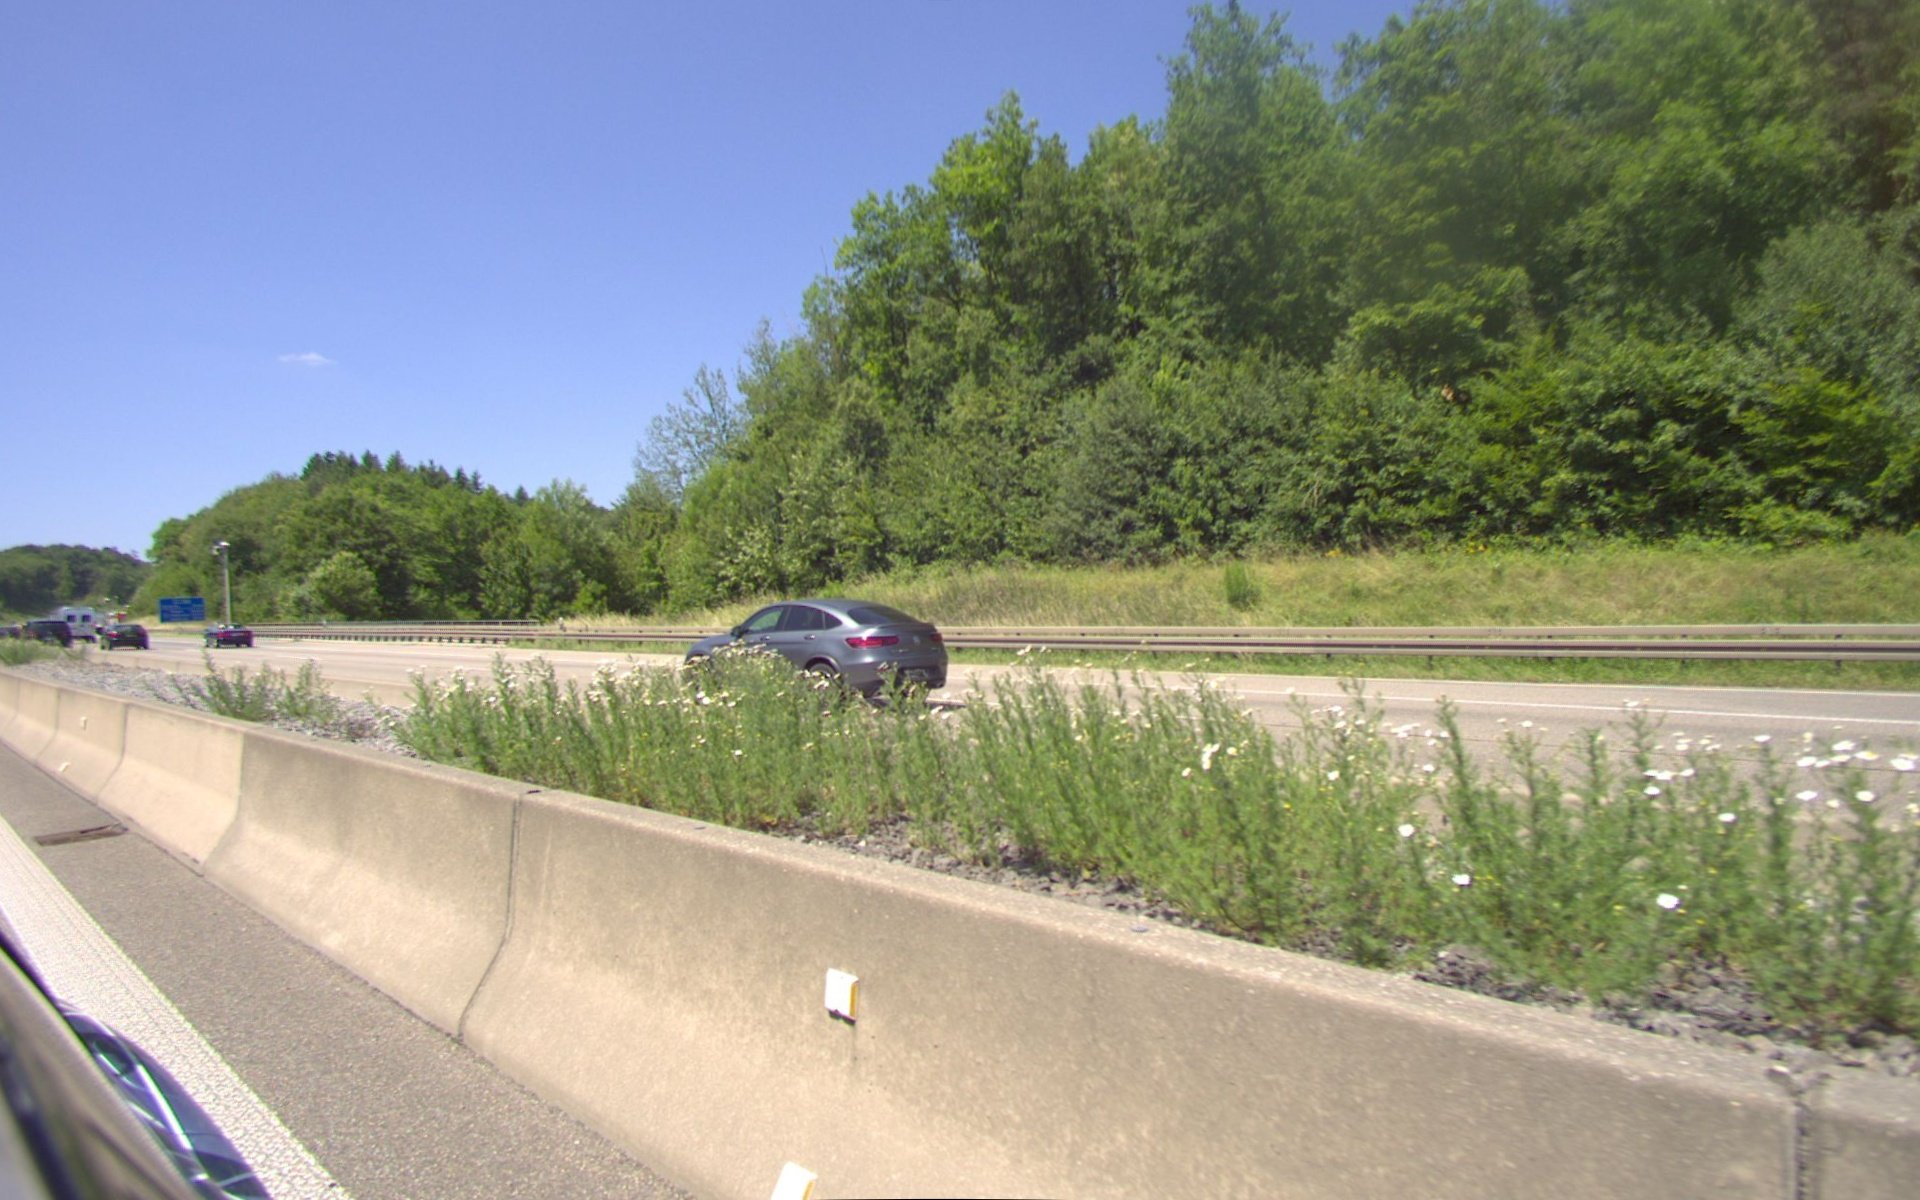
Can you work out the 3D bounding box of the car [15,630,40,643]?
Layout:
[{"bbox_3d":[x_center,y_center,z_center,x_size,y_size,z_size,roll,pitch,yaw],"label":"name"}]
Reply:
[{"bbox_3d":[-104.867,4.114,113.808,4.233,1.431,1.822,-2,-1,43],"label":"car"}]

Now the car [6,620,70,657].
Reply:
[{"bbox_3d":[-46.666,1.933,51.195,4.355,1.737,1.972,-2,-1,42],"label":"car"}]

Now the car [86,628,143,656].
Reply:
[{"bbox_3d":[-45.467,2.263,54.404,4.270,1.412,1.794,-2,-1,42],"label":"car"}]

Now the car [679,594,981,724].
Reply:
[{"bbox_3d":[-2.043,0.789,15.016,4.472,1.640,1.973,-2,-1,41],"label":"car"}]

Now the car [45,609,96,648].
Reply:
[{"bbox_3d":[-65.856,2.122,74.868,6.061,2.722,2.192,-2,-1,42],"label":"car"}]

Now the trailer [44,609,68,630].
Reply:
[{"bbox_3d":[-175.829,3.794,196.848,10.172,3.886,2.750,-2,-1,44],"label":"trailer"}]

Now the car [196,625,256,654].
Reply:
[{"bbox_3d":[-39.644,2.109,54.653,3.999,1.464,1.821,-2,-1,42],"label":"car"}]

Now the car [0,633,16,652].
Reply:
[{"bbox_3d":[-76.266,3.359,80.185,4.411,1.421,1.855,-2,-1,42],"label":"car"}]

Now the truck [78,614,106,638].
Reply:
[{"bbox_3d":[-128.975,3.857,150.300,2.704,3.501,7.319,0,-1,-44],"label":"truck"}]
